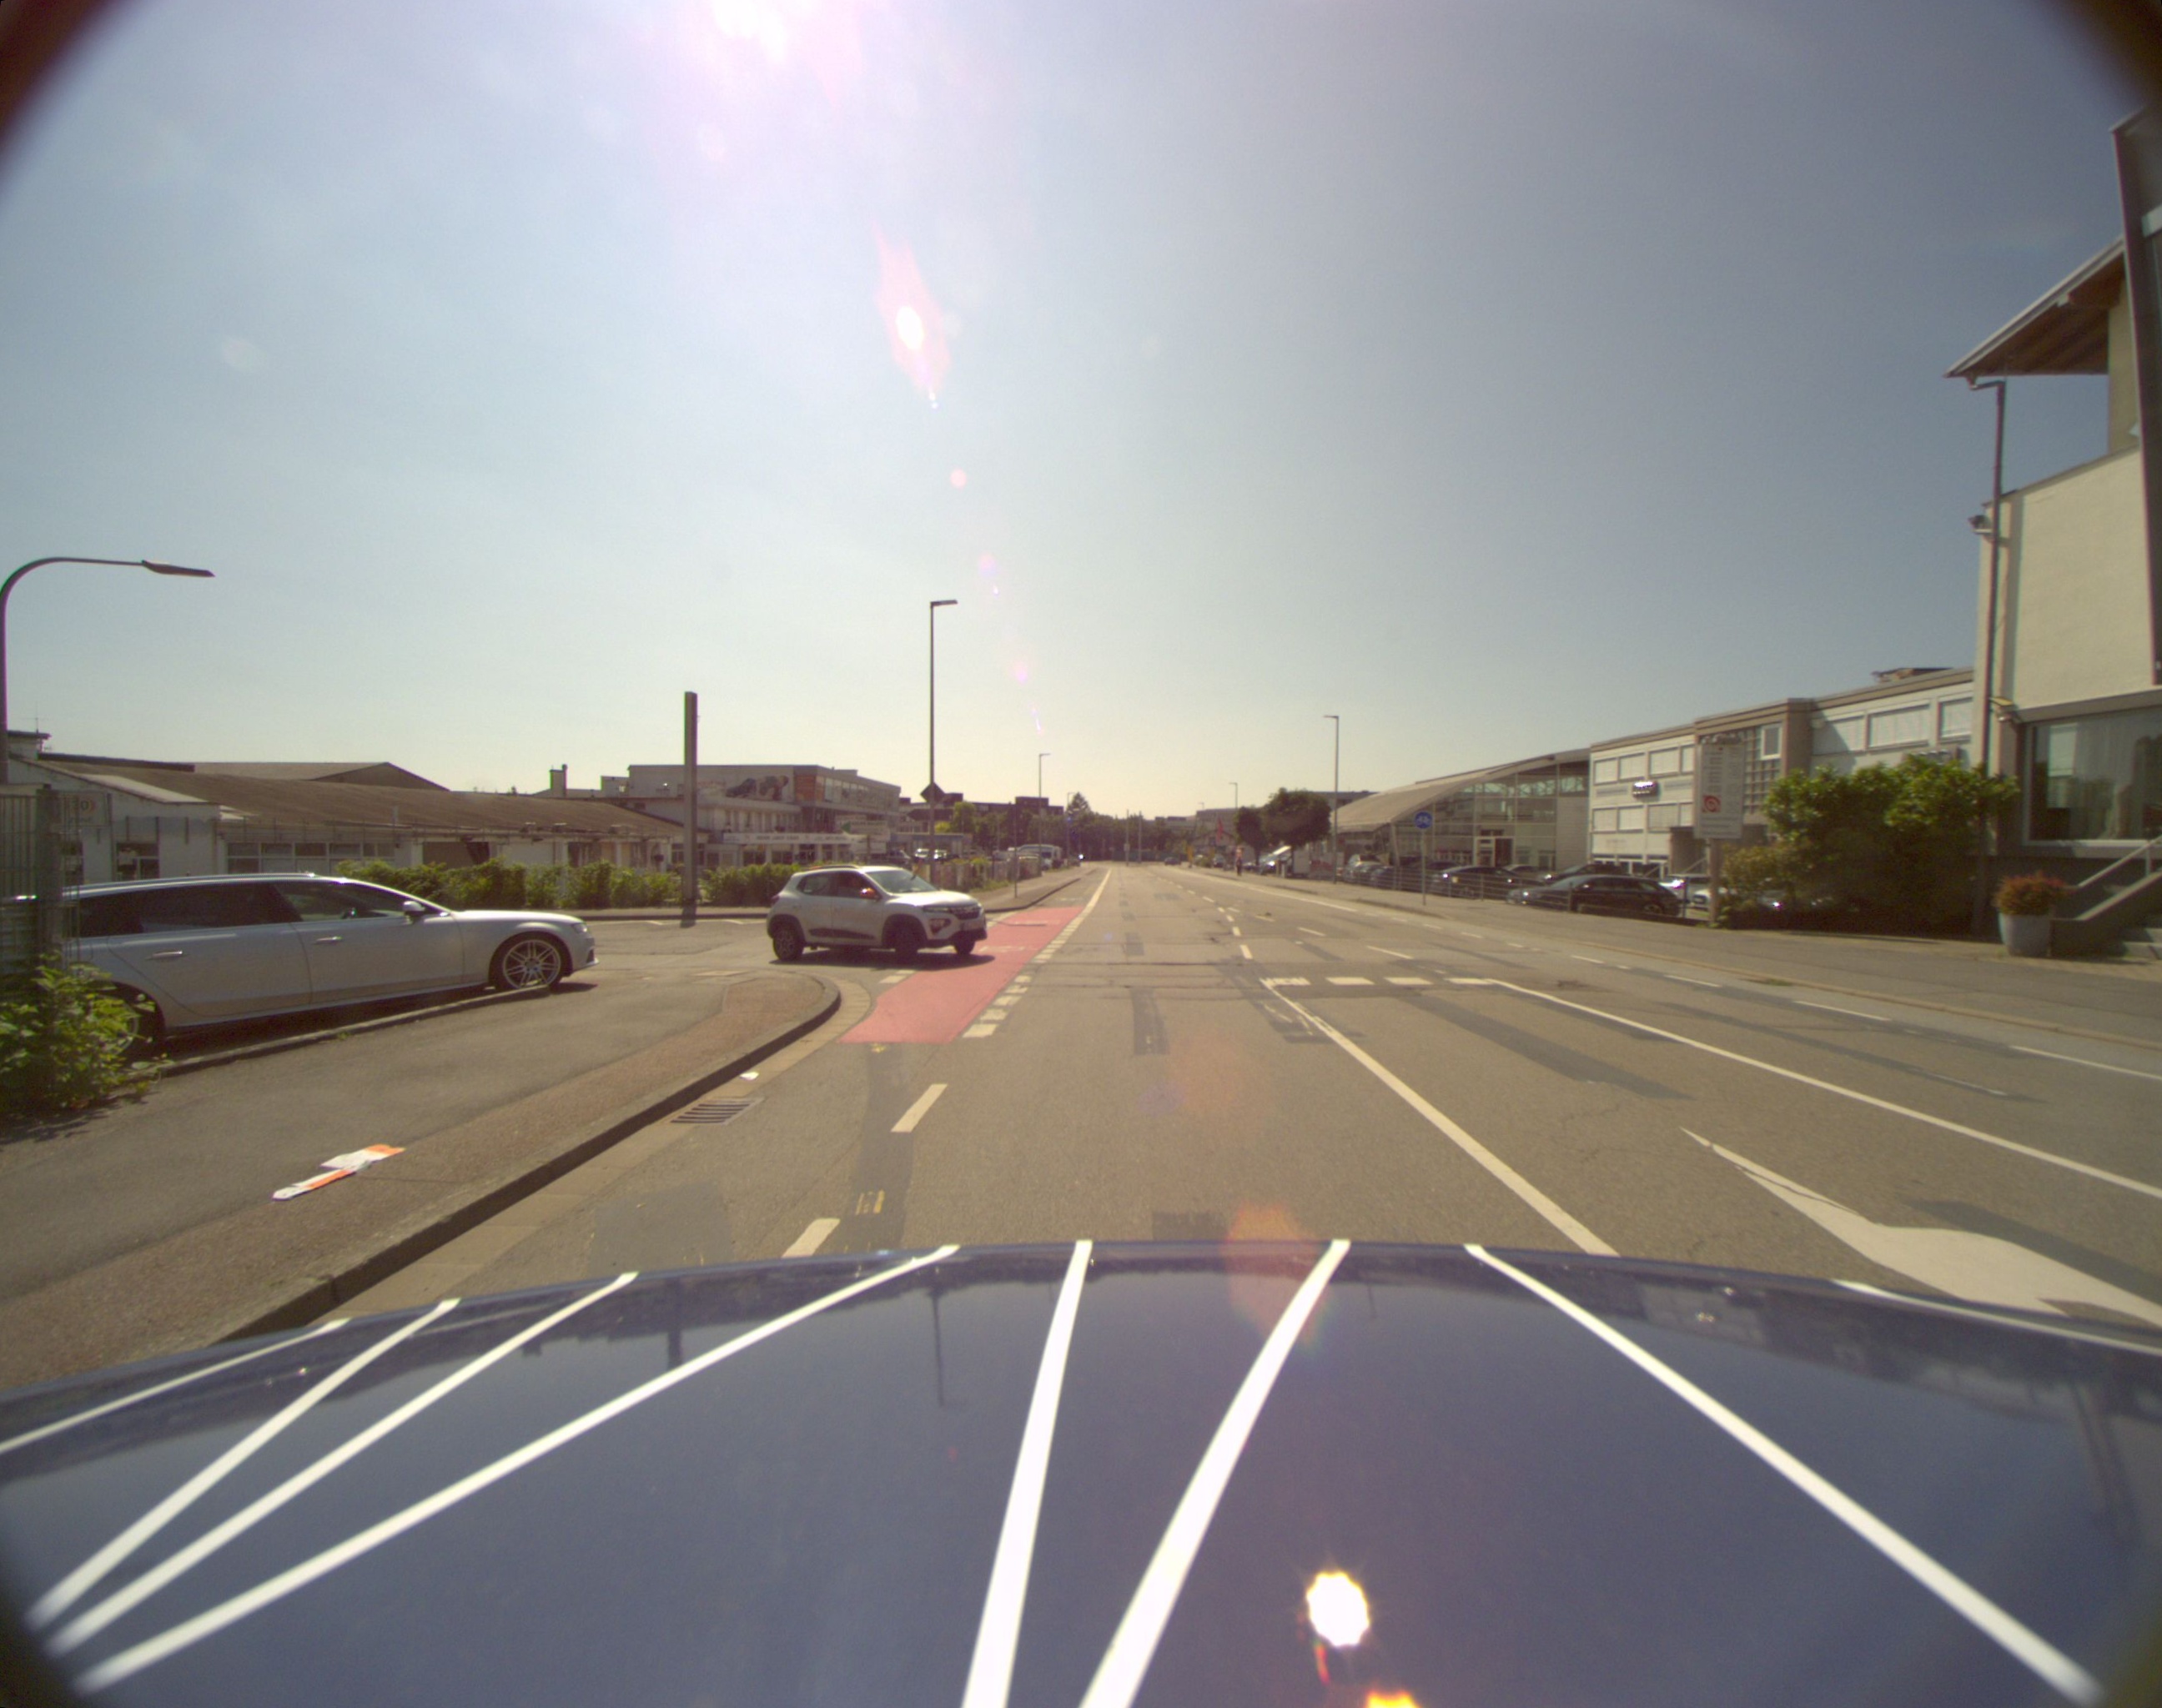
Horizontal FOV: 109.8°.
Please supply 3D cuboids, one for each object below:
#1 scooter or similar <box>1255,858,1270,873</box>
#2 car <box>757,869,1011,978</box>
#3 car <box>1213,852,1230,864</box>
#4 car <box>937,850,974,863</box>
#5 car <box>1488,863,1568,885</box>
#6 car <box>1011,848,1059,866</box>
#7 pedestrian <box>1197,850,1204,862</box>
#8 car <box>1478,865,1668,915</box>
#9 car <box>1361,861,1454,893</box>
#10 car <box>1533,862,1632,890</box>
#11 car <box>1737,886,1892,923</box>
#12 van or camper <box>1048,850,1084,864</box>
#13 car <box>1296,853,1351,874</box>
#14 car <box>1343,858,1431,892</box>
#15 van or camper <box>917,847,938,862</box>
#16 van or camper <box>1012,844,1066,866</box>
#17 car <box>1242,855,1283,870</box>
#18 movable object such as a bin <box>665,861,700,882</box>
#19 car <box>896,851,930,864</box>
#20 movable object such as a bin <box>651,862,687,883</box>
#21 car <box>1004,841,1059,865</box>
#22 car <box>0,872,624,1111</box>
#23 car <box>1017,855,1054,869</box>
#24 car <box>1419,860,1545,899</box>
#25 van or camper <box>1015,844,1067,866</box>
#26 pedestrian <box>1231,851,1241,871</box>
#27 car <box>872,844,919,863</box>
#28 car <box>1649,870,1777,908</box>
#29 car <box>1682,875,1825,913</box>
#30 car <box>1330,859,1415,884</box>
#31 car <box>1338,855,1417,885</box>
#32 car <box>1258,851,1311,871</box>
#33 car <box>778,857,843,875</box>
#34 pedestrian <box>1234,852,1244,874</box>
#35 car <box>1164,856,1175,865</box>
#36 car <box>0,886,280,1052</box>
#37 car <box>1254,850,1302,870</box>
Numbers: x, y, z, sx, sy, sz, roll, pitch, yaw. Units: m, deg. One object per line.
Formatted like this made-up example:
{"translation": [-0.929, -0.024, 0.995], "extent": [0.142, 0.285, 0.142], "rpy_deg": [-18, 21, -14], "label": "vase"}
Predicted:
{"translation": [15.345, 1.001, 64.238], "extent": [0.746, 1.240, 1.490], "rpy_deg": [0, 0, -5], "label": "scooter or similar"}
{"translation": [-3.158, 1.018, 12.156], "extent": [3.667, 1.476, 1.731], "rpy_deg": [-1, 0, 27], "label": "car"}
{"translation": [19.676, 0.546, 106.448], "extent": [1.909, 1.705, 4.001], "rpy_deg": [0, 0, 5], "label": "car"}
{"translation": [-16.875, 0.298, 102.210], "extent": [4.549, 1.668, 2.000], "rpy_deg": [0, 0, -1], "label": "car"}
{"translation": [28.464, 1.264, 48.425], "extent": [3.996, 1.351, 1.859], "rpy_deg": [0, 0, 3], "label": "car"}
{"translation": [-5.322, 0.392, 88.210], "extent": [5.246, 1.940, 2.000], "rpy_deg": [1, 0, 2], "label": "car"}
{"translation": [16.644, 0.219, 105.752], "extent": [0.995, 1.676, 0.800], "rpy_deg": [1, 1, 14], "label": "pedestrian"}
{"translation": [15.698, 1.127, 24.455], "extent": [4.750, 1.472, 2.048], "rpy_deg": [0, 0, 1], "label": "car"}
{"translation": [16.937, 1.190, 39.499], "extent": [3.997, 1.482, 1.858], "rpy_deg": [1, 3, -1], "label": "car"}
{"translation": [28.219, 1.218, 42.824], "extent": [4.365, 1.544, 1.859], "rpy_deg": [0, 0, 0], "label": "car"}
{"translation": [27.422, 1.869, 28.516], "extent": [3.996, 1.257, 1.859], "rpy_deg": [0, 0, 1], "label": "car"}
{"translation": [-2.273, 0.451, 117.912], "extent": [5.144, 1.950, 1.982], "rpy_deg": [1, 1, -28], "label": "van or camper"}
{"translation": [19.065, 0.724, 59.821], "extent": [4.006, 1.541, 1.855], "rpy_deg": [-1, 0, -28], "label": "car"}
{"translation": [16.909, 1.158, 42.127], "extent": [3.997, 1.435, 1.859], "rpy_deg": [6, 1, 0], "label": "car"}
{"translation": [-21.690, 0.079, 107.757], "extent": [2.123, 2.002, 5.113], "rpy_deg": [0, 0, -3], "label": "van or camper"}
{"translation": [-5.105, 0.096, 93.818], "extent": [6.363, 2.684, 2.713], "rpy_deg": [0, 1, 3], "label": "van or camper"}
{"translation": [18.531, 0.846, 77.558], "extent": [4.168, 1.451, 1.902], "rpy_deg": [-2, 1, -40], "label": "car"}
{"translation": [-28.947, 1.263, 55.255], "extent": [1.574, 1.447, 1.825], "rpy_deg": [0, 0, -2], "label": "movable object such as a bin"}
{"translation": [-22.526, 0.496, 102.162], "extent": [4.116, 1.723, 2.000], "rpy_deg": [0, 0, -1], "label": "car"}
{"translation": [-28.927, 1.307, 53.422], "extent": [1.574, 1.447, 1.755], "rpy_deg": [0, 0, -2], "label": "movable object such as a bin"}
{"translation": [-5.864, -0.139, 90.907], "extent": [6.242, 2.853, 2.321], "rpy_deg": [0, 1, 3], "label": "car"}
{"translation": [-7.214, 1.031, 7.158], "extent": [1.953, 1.351, 4.504], "rpy_deg": [-3, 1, 33], "label": "car"}
{"translation": [-5.109, 0.874, 85.451], "extent": [3.931, 1.584, 1.798], "rpy_deg": [0, 0, 2], "label": "car"}
{"translation": [17.054, 1.071, 32.440], "extent": [4.307, 1.549, 1.995], "rpy_deg": [0, 0, -1], "label": "car"}
{"translation": [-5.025, 0.100, 96.627], "extent": [6.363, 2.700, 2.713], "rpy_deg": [0, 1, 3], "label": "van or camper"}
{"translation": [14.127, 0.627, 69.154], "extent": [0.725, 1.838, 0.911], "rpy_deg": [1, 1, 1], "label": "pedestrian"}
{"translation": [-23.478, -0.046, 96.259], "extent": [5.311, 2.405, 2.325], "rpy_deg": [0, 0, -2], "label": "car"}
{"translation": [27.515, 1.499, 33.170], "extent": [3.996, 1.537, 1.859], "rpy_deg": [0, 0, 1], "label": "car"}
{"translation": [27.112, 1.599, 30.768], "extent": [3.995, 1.395, 1.816], "rpy_deg": [0, 2, 6], "label": "car"}
{"translation": [18.032, 1.067, 47.172], "extent": [4.535, 1.449, 1.900], "rpy_deg": [0, 0, 1], "label": "car"}
{"translation": [17.404, 0.929, 44.709], "extent": [3.899, 1.436, 1.823], "rpy_deg": [-3, 3, 3], "label": "car"}
{"translation": [17.856, 0.616, 66.658], "extent": [4.588, 1.687, 1.854], "rpy_deg": [-1, 0, -33], "label": "car"}
{"translation": [-22.266, 0.956, 62.654], "extent": [1.890, 1.283, 4.563], "rpy_deg": [-1, 1, 44], "label": "car"}
{"translation": [13.328, 0.773, 64.047], "extent": [0.734, 1.857, 1.047], "rpy_deg": [1, 1, 6], "label": "pedestrian"}
{"translation": [15.250, 1.115, 131.513], "extent": [1.745, 1.396, 4.327], "rpy_deg": [0, 1, 8], "label": "car"}
{"translation": [-11.432, 1.173, 7.654], "extent": [1.852, 1.495, 4.507], "rpy_deg": [0, 0, 2], "label": "car"}
{"translation": [18.255, 0.488, 70.249], "extent": [4.209, 1.487, 1.870], "rpy_deg": [-5, 3, -32], "label": "car"}
